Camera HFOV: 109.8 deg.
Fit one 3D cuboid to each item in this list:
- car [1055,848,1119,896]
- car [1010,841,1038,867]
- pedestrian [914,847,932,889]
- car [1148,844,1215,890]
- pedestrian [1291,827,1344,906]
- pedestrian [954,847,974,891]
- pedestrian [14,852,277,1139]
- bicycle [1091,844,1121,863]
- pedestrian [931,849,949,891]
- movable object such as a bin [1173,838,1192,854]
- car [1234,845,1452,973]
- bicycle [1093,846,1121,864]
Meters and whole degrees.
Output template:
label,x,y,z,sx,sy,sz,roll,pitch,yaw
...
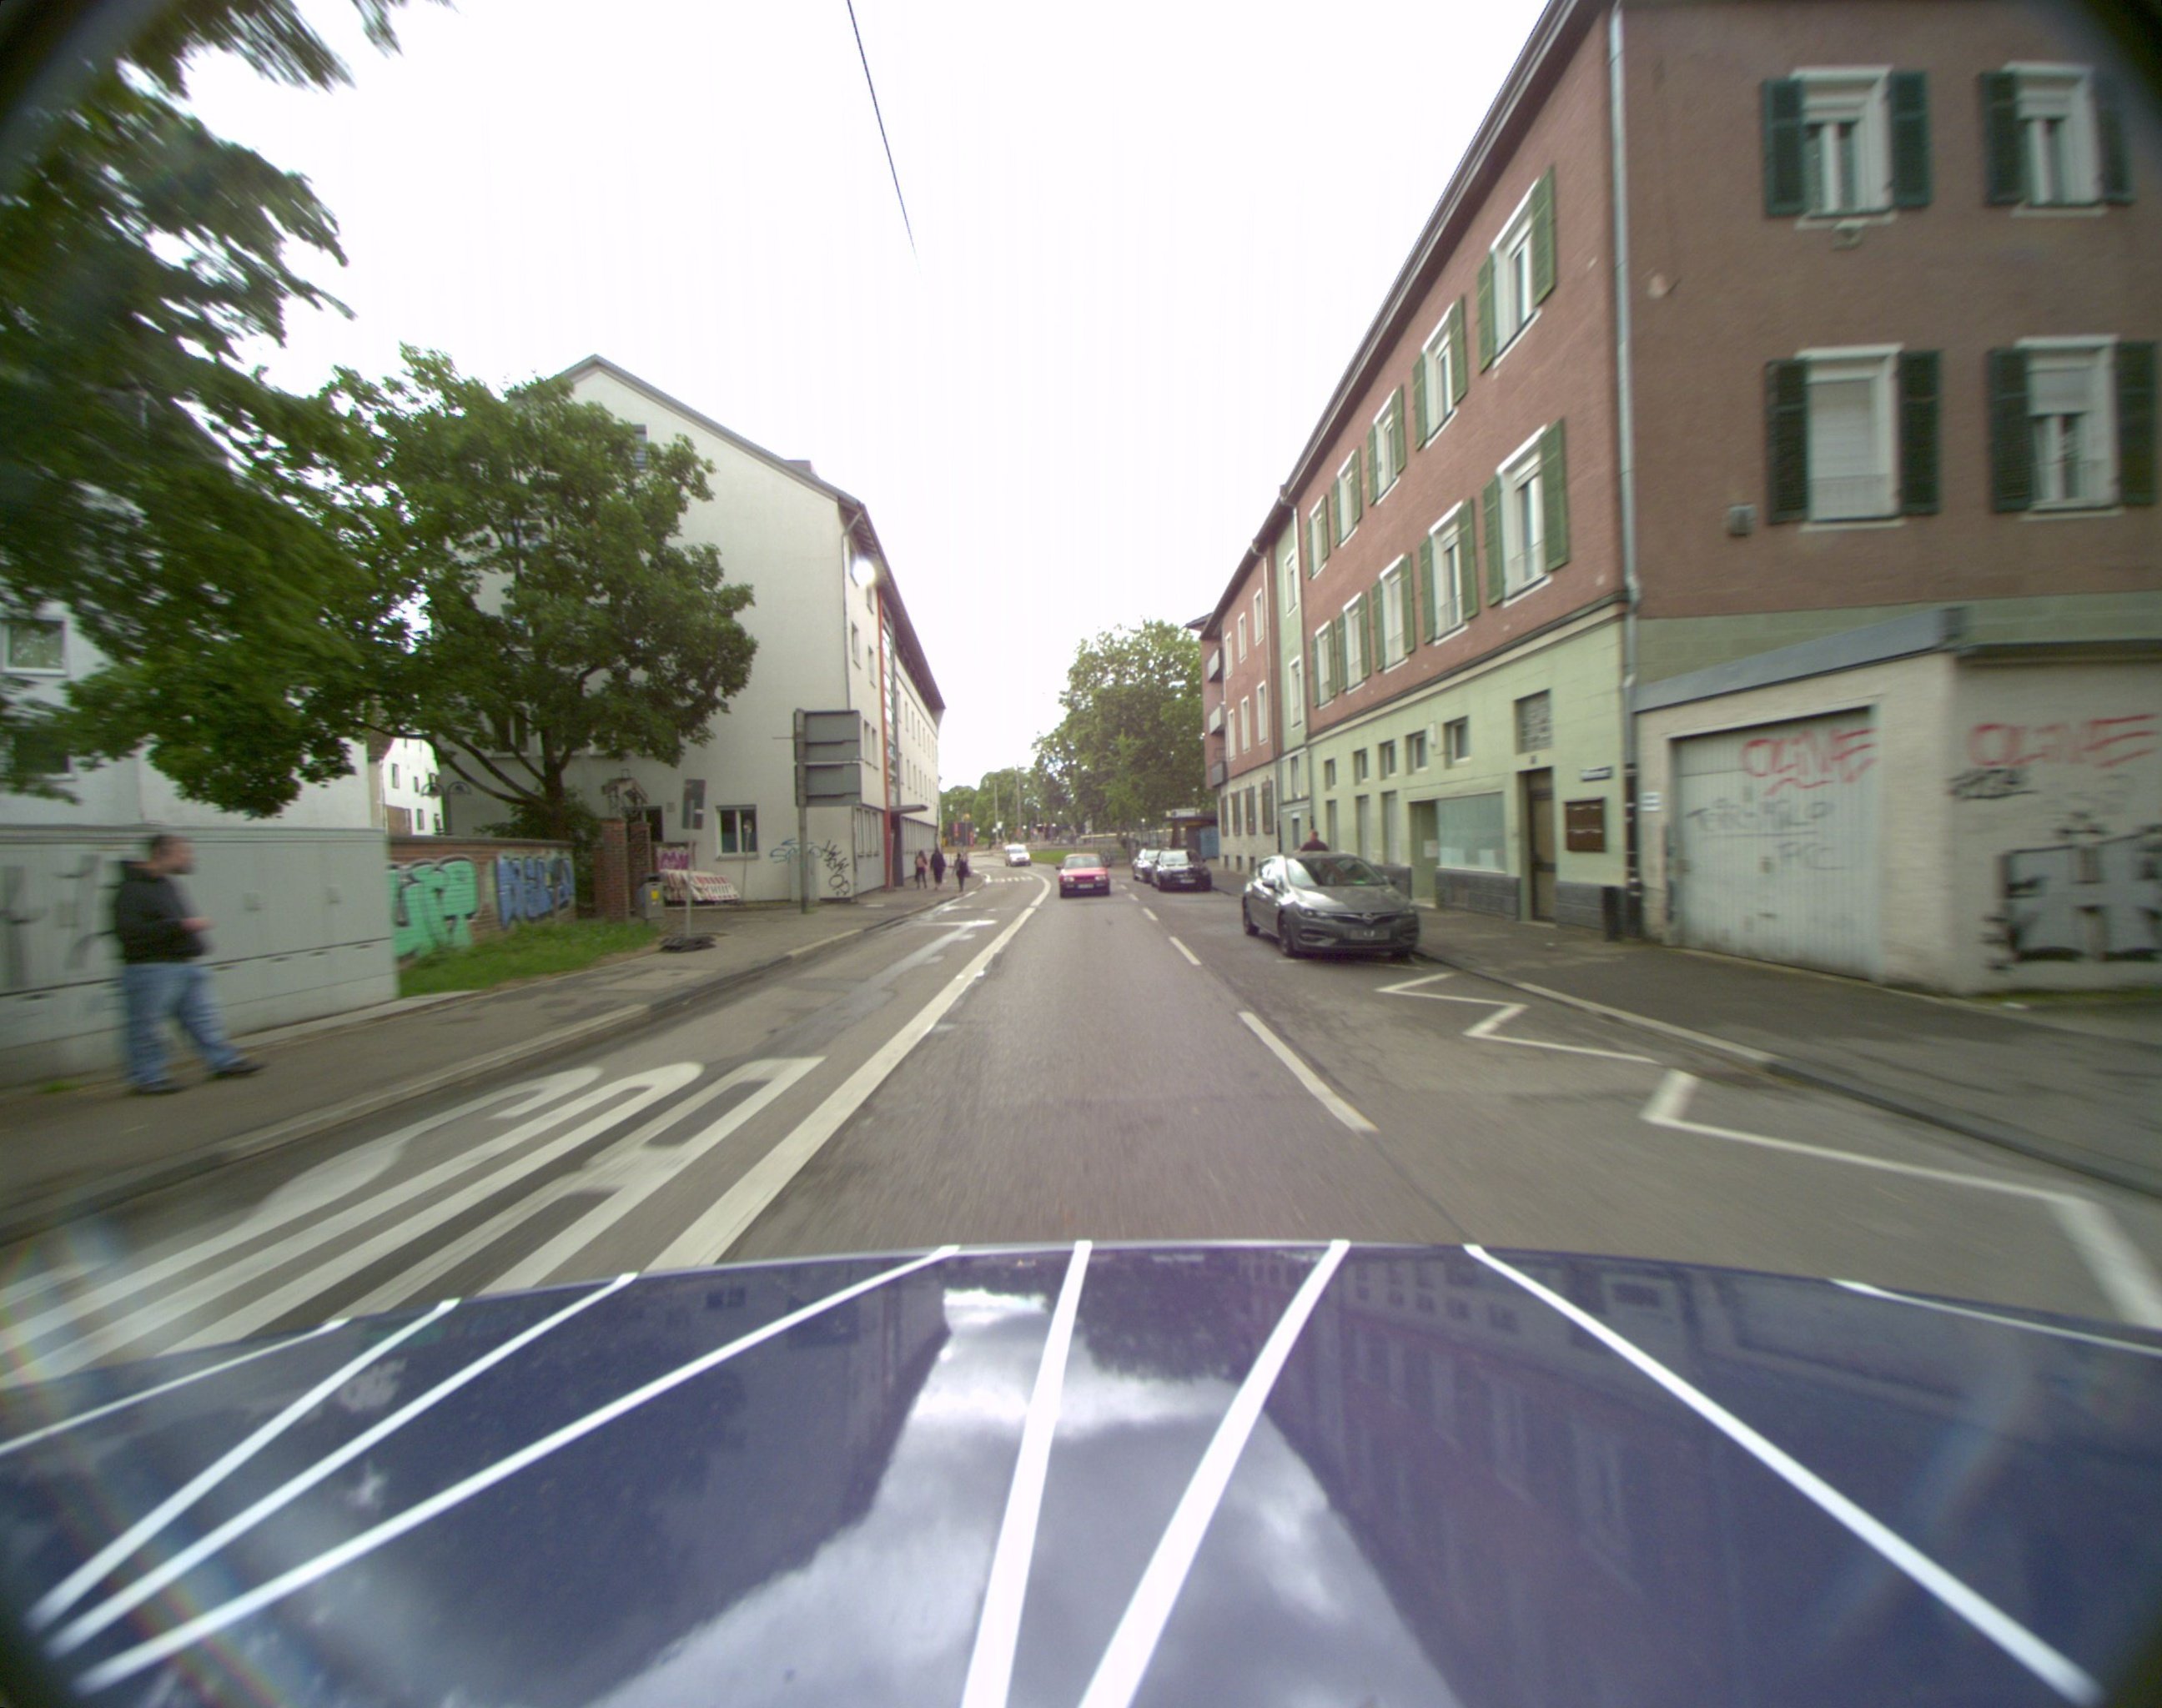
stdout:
label,x,y,z,sx,sy,sz,roll,pitch,yaw
car,0.136,0.563,26.333,1.850,1.414,4.171,-4,0,-4
car,-4.977,-0.070,65.383,2.074,1.776,4.452,-5,5,-6
pedestrian,-6.615,0.596,31.840,0.543,1.746,0.609,0,0,8
car,3.631,0.408,28.236,1.833,1.447,4.920,-2,2,1
pedestrian,5.510,0.283,17.753,0.763,1.734,0.984,-5,0,-2
pedestrian,-4.904,0.622,31.901,0.805,1.783,0.942,0,0,-5
pedestrian,-6.313,0.894,5.186,0.583,1.769,0.821,-4,2,1
bicycle,1.738,-0.014,52.556,1.809,1.170,0.723,-5,3,-24
pedestrian,-5.915,0.653,31.921,0.689,1.746,0.878,0,0,-5
movable object such as a bin,7.089,-0.552,53.096,0.674,0.959,1.076,-9,4,-43
car,3.733,0.675,11.670,1.883,1.477,4.127,-4,1,1
bicycle,1.830,0.088,53.780,1.875,1.107,0.577,-5,2,-3
